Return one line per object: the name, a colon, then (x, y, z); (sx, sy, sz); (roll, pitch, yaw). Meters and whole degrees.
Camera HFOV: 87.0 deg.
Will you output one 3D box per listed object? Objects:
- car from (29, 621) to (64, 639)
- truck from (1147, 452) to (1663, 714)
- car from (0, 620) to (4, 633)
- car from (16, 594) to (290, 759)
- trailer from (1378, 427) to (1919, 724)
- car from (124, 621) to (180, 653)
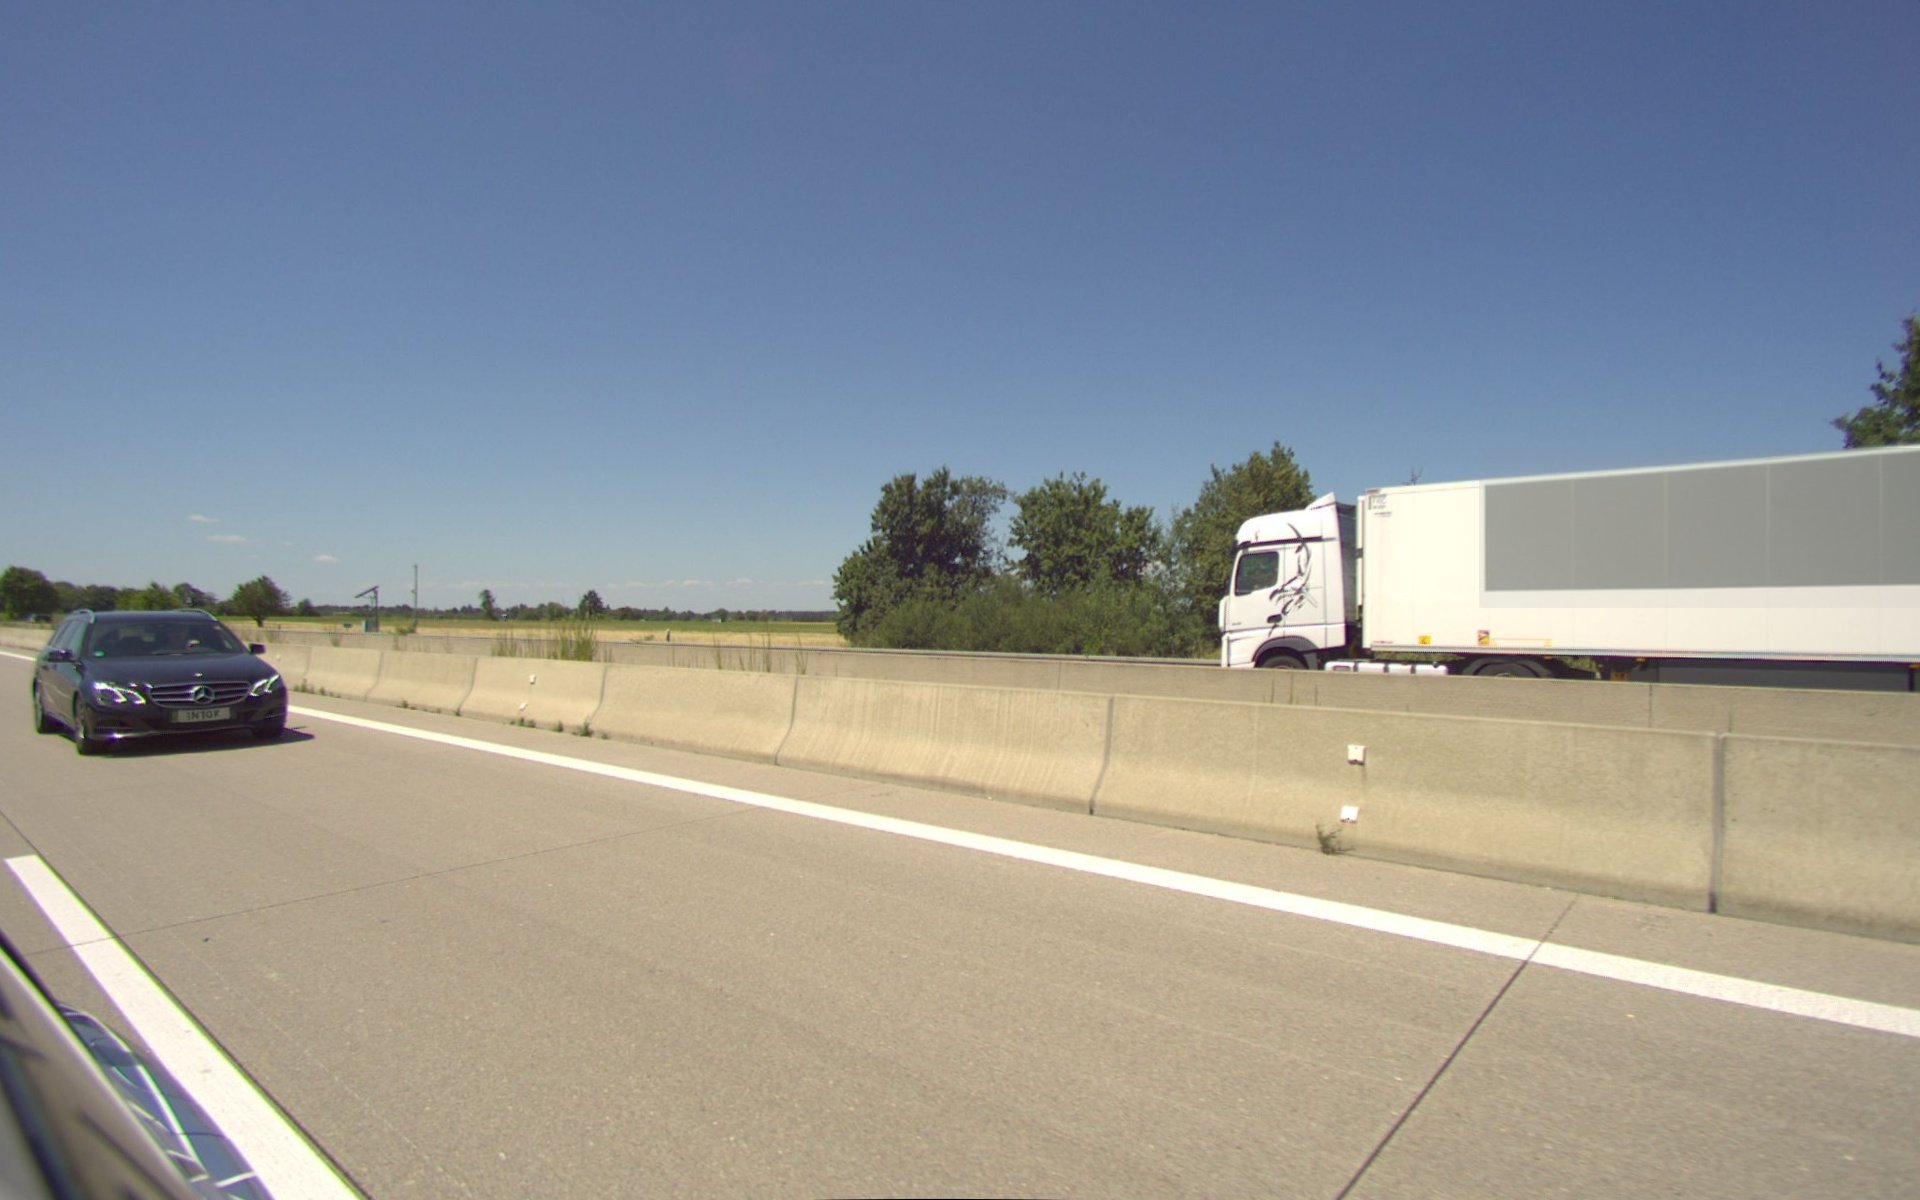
car: (-95.317, 3.121, 105.568); (4.810, 1.852, 1.974); (-1, -1, 39)
truck: (8.026, -0.198, 19.161); (8.367, 3.938, 3.128); (-1, -1, 41)
car: (-141.619, 3.895, 148.214); (3.998, 1.796, 1.973); (-1, -1, 41)
car: (-9.483, 0.767, 11.784); (3.938, 1.597, 1.824); (-1, -1, 41)
trailer: (13.649, -0.331, 14.301); (14.022, 3.867, 3.128); (-1, -1, 41)
car: (-51.064, 2.289, 63.934); (4.690, 1.896, 1.973); (-1, -1, 41)
